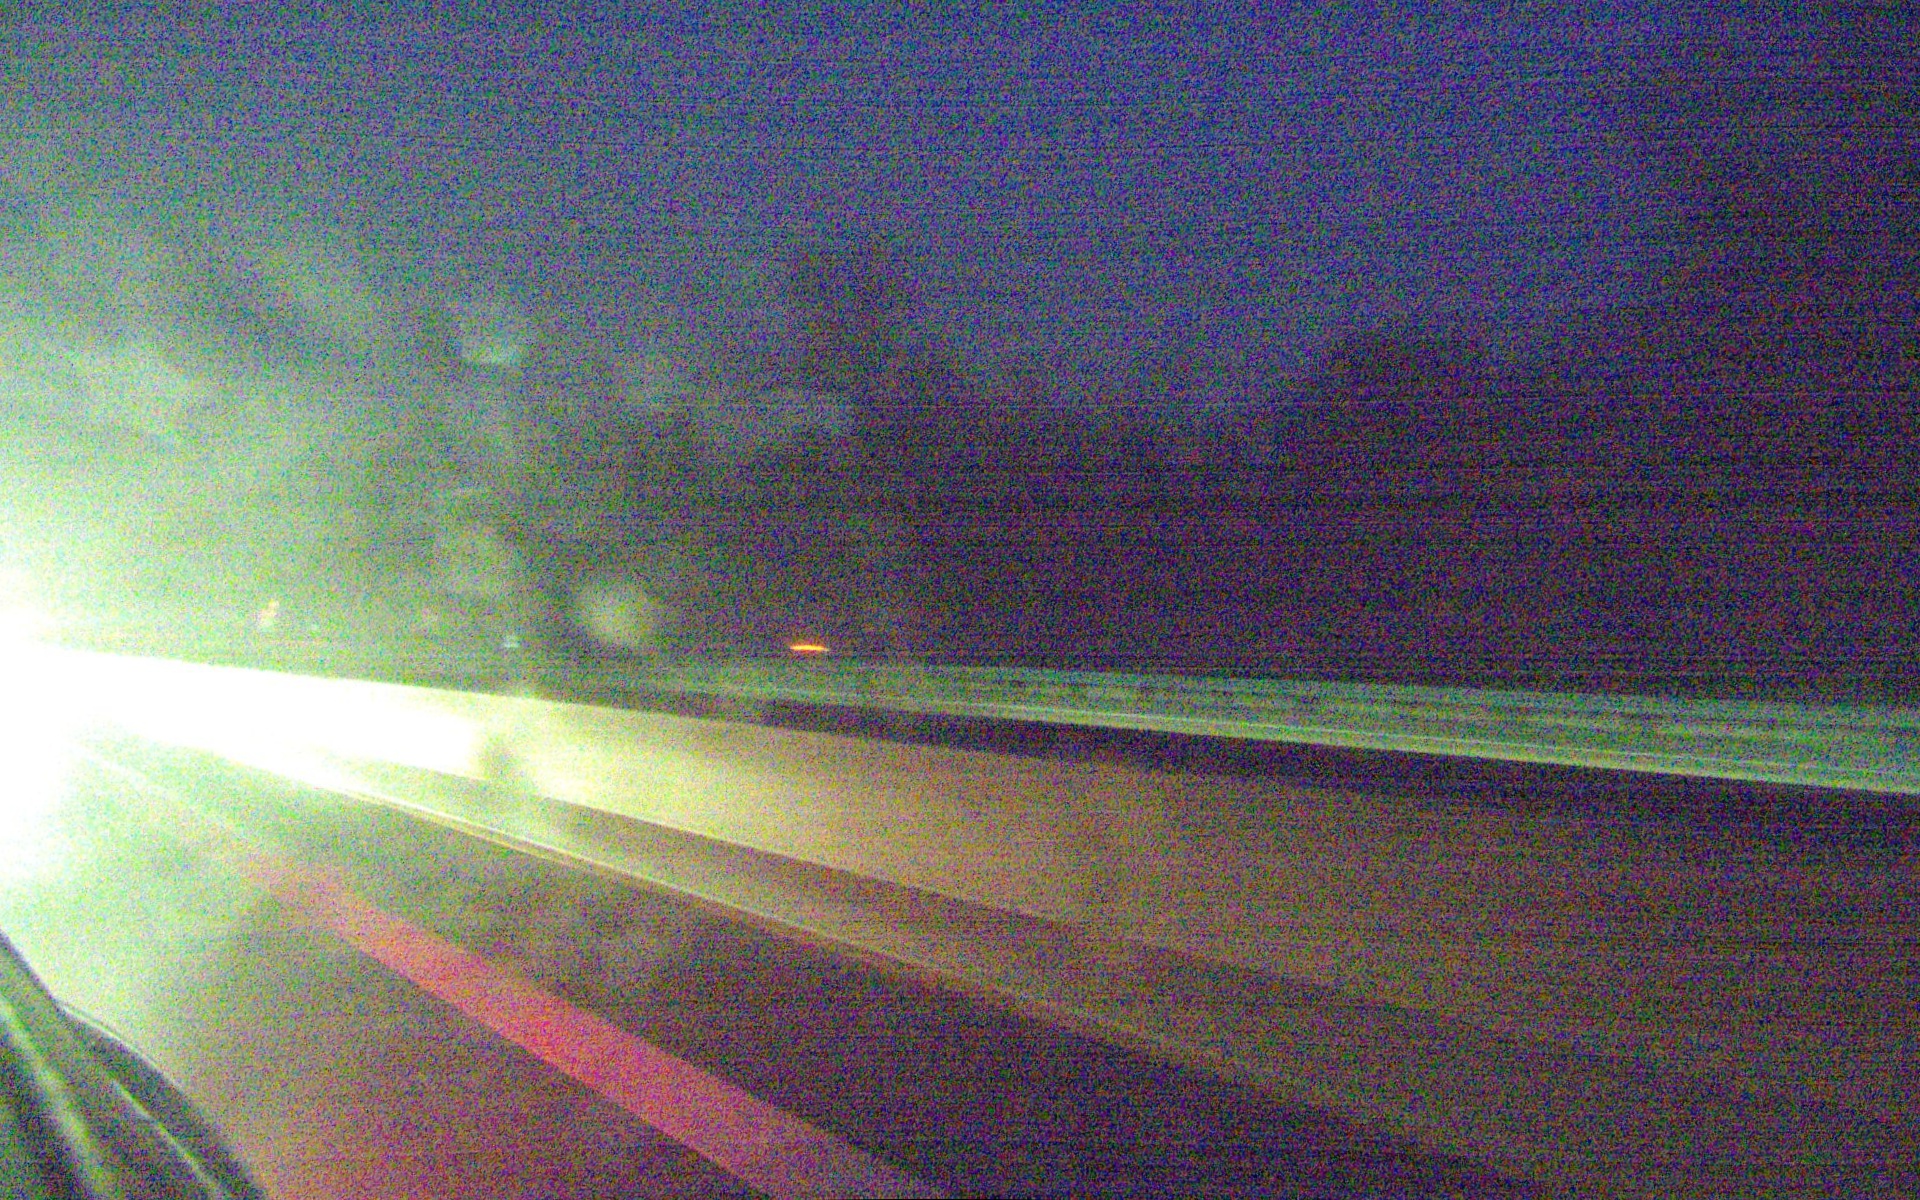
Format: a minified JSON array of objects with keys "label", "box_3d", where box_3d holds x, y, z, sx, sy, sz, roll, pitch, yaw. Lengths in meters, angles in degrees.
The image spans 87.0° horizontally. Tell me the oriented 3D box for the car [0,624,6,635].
[{"label":"car","box_3d":[-131.660,4.007,137.913,4.963,1.512,1.973,-1,0,42]}]
